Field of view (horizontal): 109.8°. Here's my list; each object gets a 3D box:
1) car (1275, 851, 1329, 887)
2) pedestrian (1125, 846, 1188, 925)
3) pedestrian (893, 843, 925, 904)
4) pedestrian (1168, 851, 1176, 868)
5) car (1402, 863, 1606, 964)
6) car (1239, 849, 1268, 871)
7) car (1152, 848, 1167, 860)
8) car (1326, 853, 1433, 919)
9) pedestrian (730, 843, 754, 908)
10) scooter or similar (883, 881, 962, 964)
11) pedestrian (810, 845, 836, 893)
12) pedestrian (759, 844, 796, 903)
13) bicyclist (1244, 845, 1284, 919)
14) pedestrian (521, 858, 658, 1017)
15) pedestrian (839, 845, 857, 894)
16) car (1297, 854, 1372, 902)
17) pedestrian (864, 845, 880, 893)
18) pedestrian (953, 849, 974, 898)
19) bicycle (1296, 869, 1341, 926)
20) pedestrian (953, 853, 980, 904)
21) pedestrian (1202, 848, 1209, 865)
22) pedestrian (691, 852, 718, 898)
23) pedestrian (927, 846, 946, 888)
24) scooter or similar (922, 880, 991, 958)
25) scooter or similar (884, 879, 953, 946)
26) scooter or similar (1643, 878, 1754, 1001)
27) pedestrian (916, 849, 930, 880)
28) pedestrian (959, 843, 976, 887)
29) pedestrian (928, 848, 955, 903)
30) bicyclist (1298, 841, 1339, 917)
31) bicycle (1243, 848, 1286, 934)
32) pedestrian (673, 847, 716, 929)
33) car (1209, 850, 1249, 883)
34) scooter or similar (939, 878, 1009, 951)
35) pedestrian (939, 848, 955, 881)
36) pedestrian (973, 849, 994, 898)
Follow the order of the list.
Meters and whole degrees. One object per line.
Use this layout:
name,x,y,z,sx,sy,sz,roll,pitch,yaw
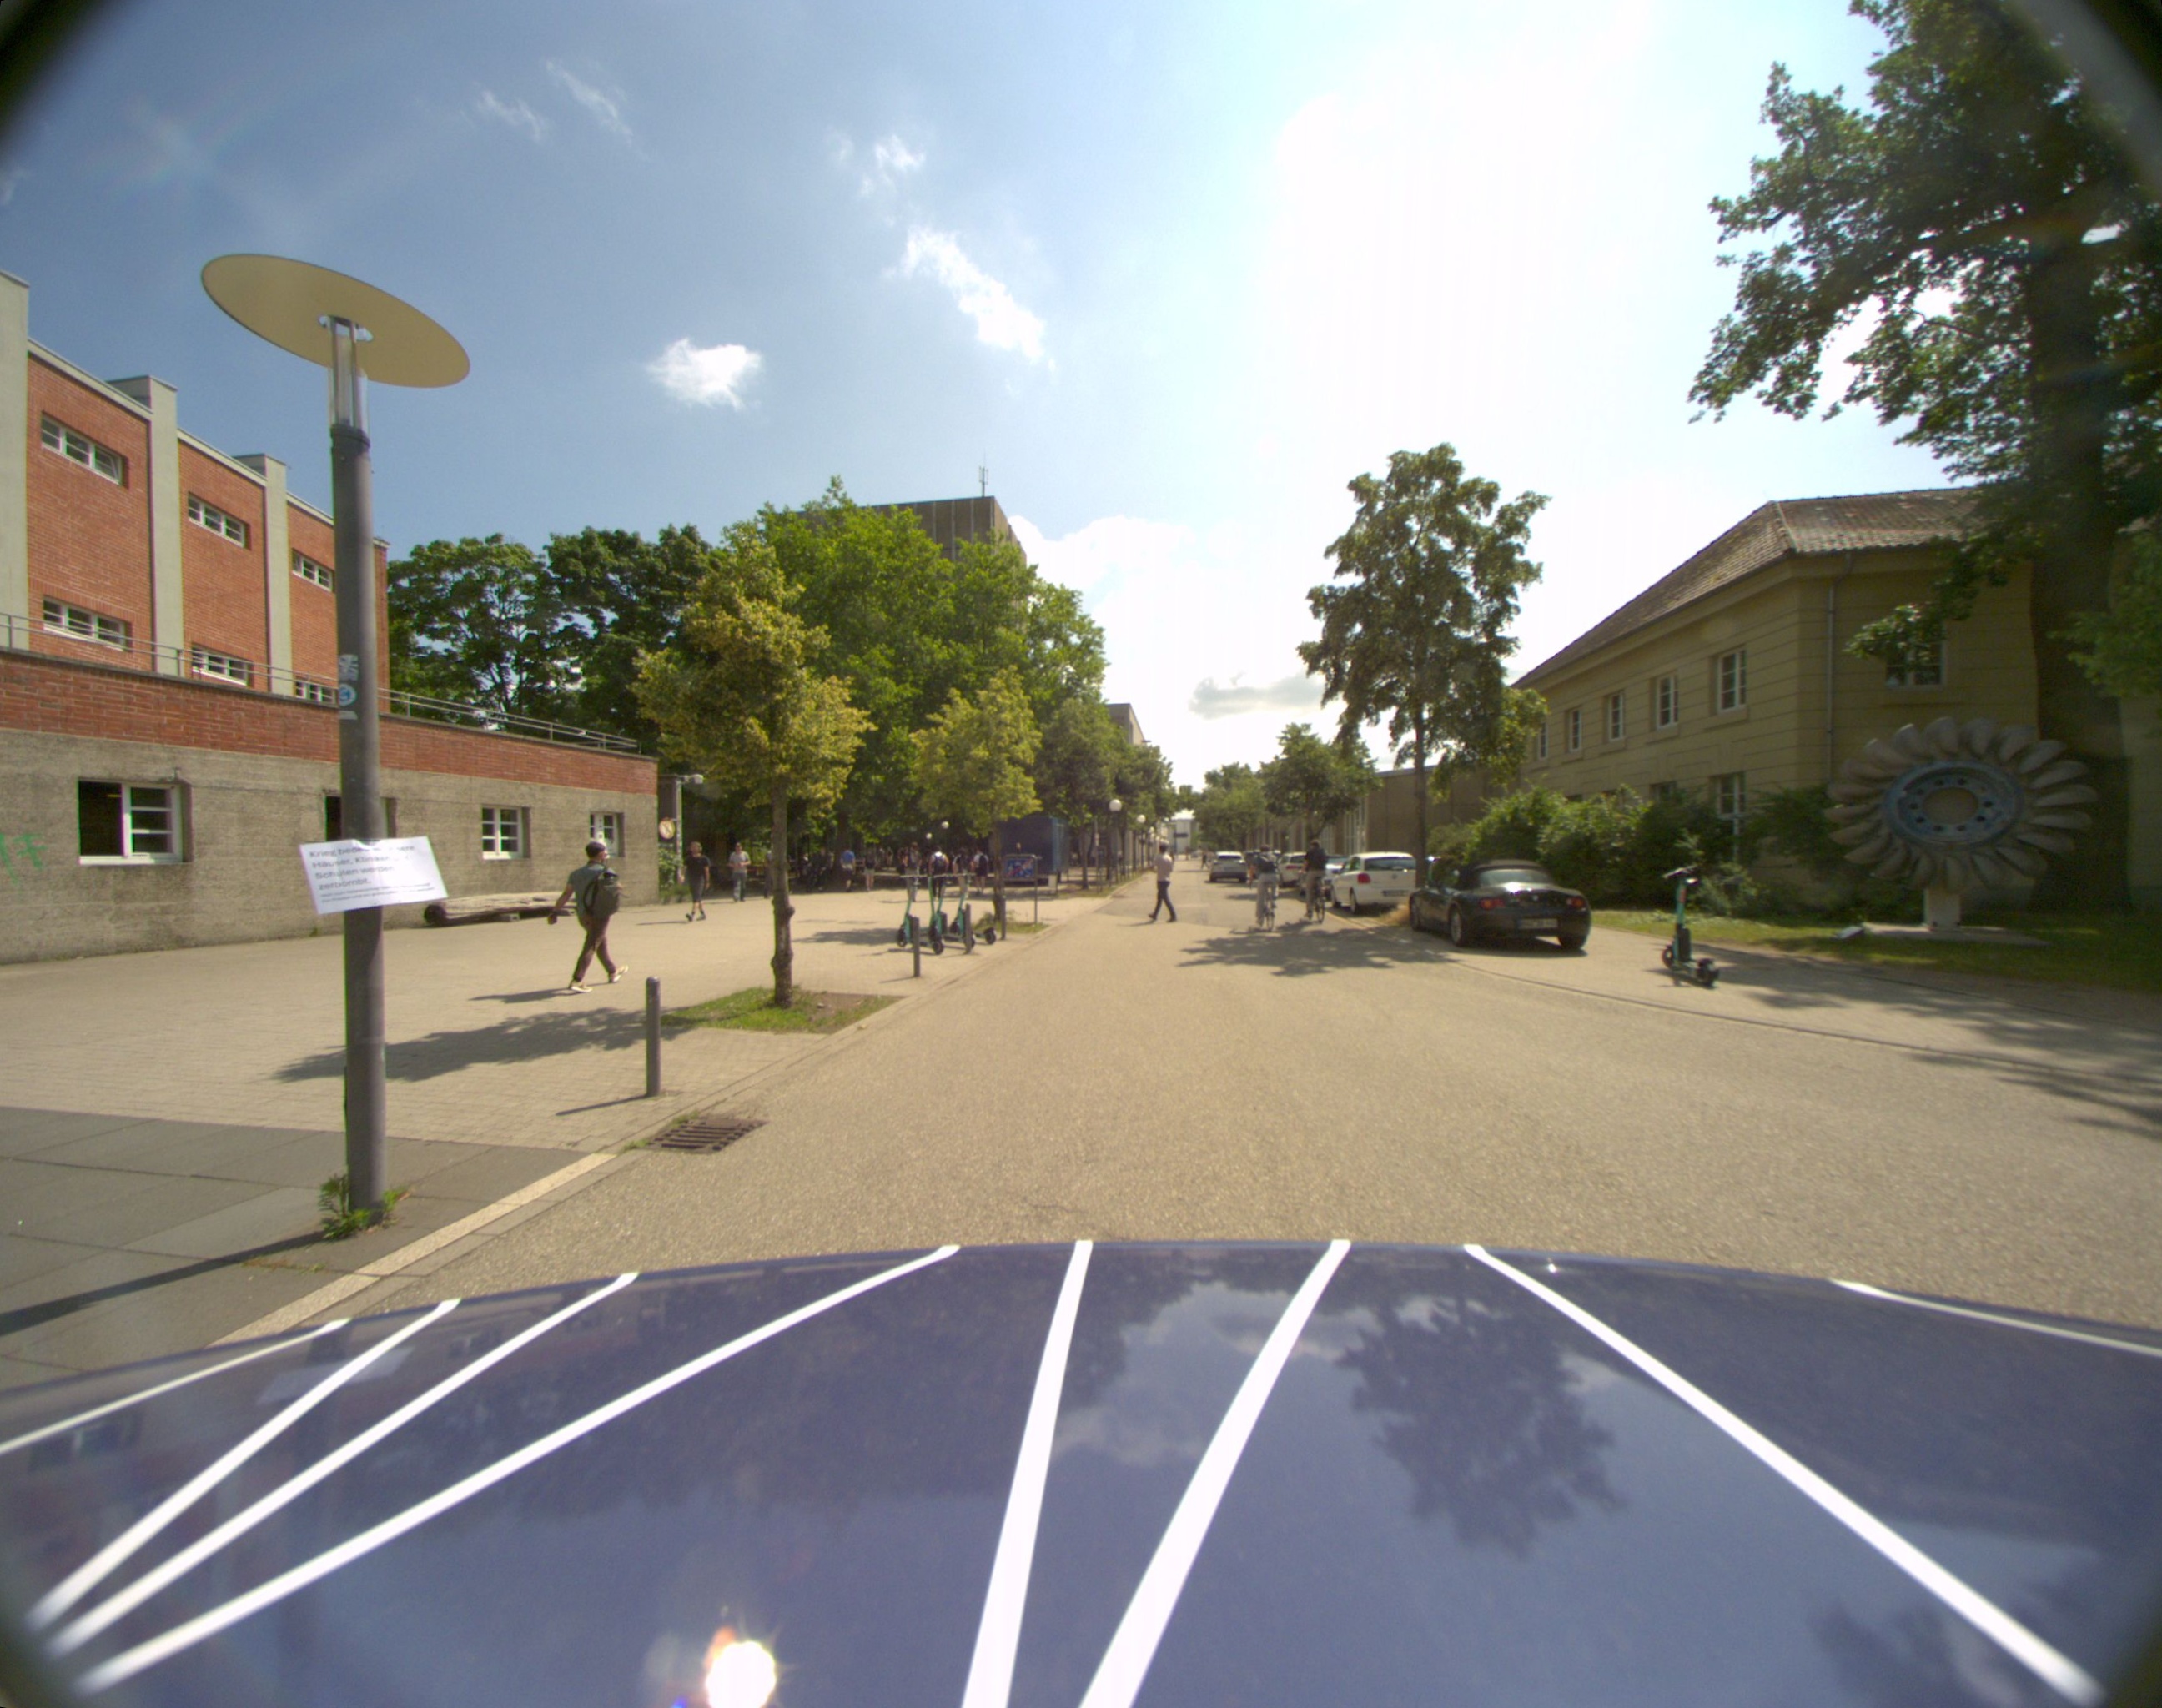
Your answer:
car,9.396,0.604,32.564,1.716,1.424,4.003,-1,0,9
pedestrian,1.763,0.697,17.778,0.985,1.776,1.092,-1,1,-37
pedestrian,-5.606,0.621,24.683,0.983,1.934,0.977,0,0,-14
pedestrian,7.785,0.452,64.947,0.585,1.433,0.639,0,1,10
car,6.588,0.840,12.312,1.699,1.287,3.765,0,0,9
car,13.434,0.440,59.380,1.931,1.624,4.375,-1,0,9
car,11.106,-0.004,107.468,1.997,1.648,4.002,0,0,6
car,7.218,0.715,18.714,1.634,1.423,3.635,-1,0,8
pedestrian,-10.342,0.661,23.138,0.566,1.917,0.888,-2,-1,-27
scooter or similar,-2.565,1.064,12.244,1.352,1.223,0.577,0,0,43
pedestrian,-9.770,0.567,28.794,0.669,1.755,0.798,-1,0,-1
pedestrian,-9.950,0.651,24.884,0.970,1.875,0.670,-3,-2,37
bicyclist,3.717,0.545,15.495,0.587,1.444,1.234,0,1,4
pedestrian,-5.551,0.893,8.656,0.784,1.666,1.079,0,2,5
pedestrian,-8.653,0.573,28.245,0.566,1.783,0.644,0,1,-9
car,8.071,0.714,24.512,1.647,1.368,4.003,-1,0,9
pedestrian,-7.851,0.551,28.621,0.541,1.783,0.644,0,1,-13
pedestrian,-4.256,0.700,27.443,0.603,1.742,0.763,0,1,-20
bicycle,5.214,0.934,16.758,0.626,1.135,1.813,0,1,7
pedestrian,-3.857,0.802,25.564,0.751,1.663,0.845,0,0,-18
pedestrian,12.045,0.251,73.378,0.536,1.672,0.587,0,1,30
pedestrian,-13.630,0.763,27.479,0.777,1.645,0.567,-4,-2,39
pedestrian,-5.933,0.531,31.122,0.640,1.697,0.713,0,1,-19
scooter or similar,-2.132,1.075,12.922,1.140,1.236,0.577,0,0,43
scooter or similar,-3.084,1.080,14.565,0.575,1.173,1.480,0,0,22
scooter or similar,6.725,0.888,8.334,0.470,1.209,1.206,0,1,13
pedestrian,-7.950,0.545,38.229,0.639,1.548,0.574,0,1,-10
pedestrian,-4.930,0.469,32.923,0.640,1.859,0.537,0,1,-19
pedestrian,-4.629,0.707,25.171,0.782,1.781,0.714,0,1,-17
bicyclist,5.215,0.527,16.733,0.629,1.597,1.329,0,1,7
bicycle,3.719,0.710,15.513,0.588,1.670,1.759,0,1,4
pedestrian,-8.549,0.734,16.810,0.586,1.768,0.798,0,2,-8
car,7.865,0.618,40.685,1.931,1.624,4.375,-1,0,9
scooter or similar,-1.948,1.069,13.754,1.261,1.226,0.577,0,0,43
pedestrian,-6.812,0.530,38.641,0.639,1.629,0.563,0,1,6
pedestrian,-3.552,0.689,27.567,0.622,1.729,0.774,0,1,-17
